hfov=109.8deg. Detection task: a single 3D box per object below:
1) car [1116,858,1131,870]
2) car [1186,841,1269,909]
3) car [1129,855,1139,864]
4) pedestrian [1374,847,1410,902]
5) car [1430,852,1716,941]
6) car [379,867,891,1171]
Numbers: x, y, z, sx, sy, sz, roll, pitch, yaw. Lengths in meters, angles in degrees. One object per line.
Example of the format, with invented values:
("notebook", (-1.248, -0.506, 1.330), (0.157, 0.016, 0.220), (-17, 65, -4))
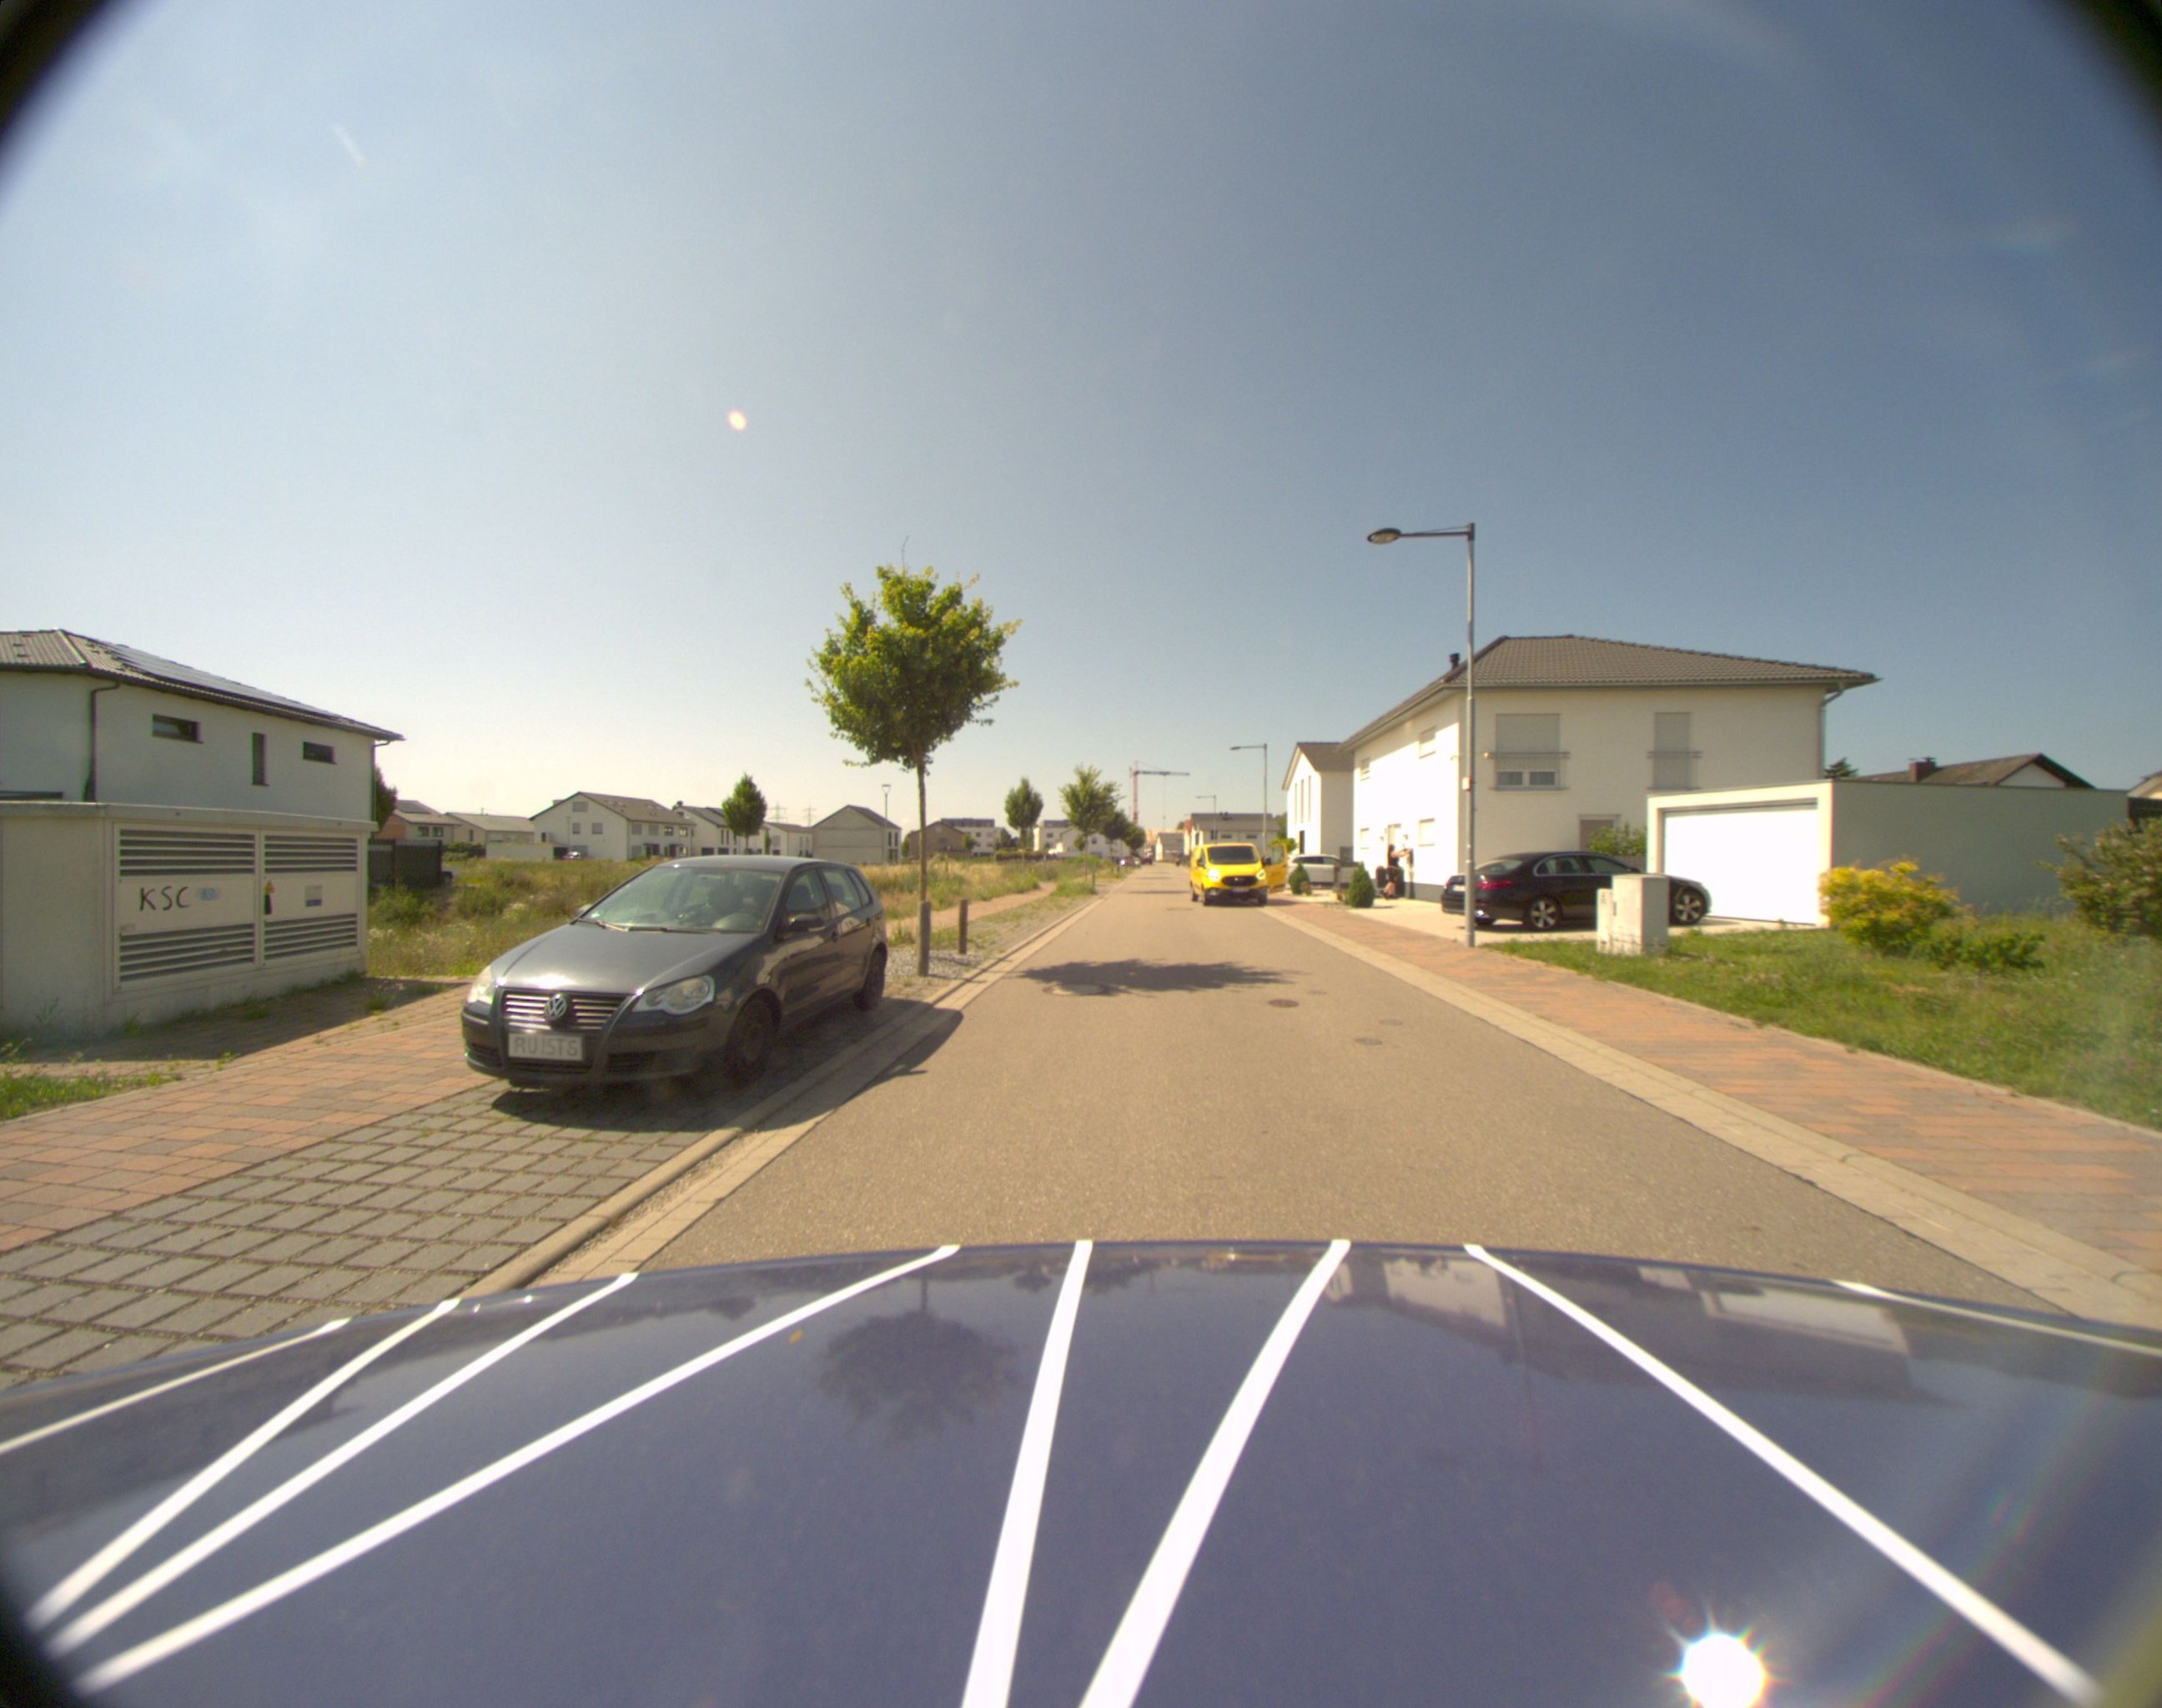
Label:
("car", (5.477, 1.265, 97.325), (1.768, 1.483, 4.001), (0, 0, 5))
("car", (4.719, 0.639, 25.107), (1.888, 2.002, 4.841), (-1, 0, 1))
("car", (8.172, 0.784, 116.561), (1.492, 1.389, 3.274), (0, 0, 5))
("pedestrian", (9.709, 0.626, 23.738), (0.931, 1.675, 0.538), (-2, 0, 15))
("car", (9.110, 0.724, 14.219), (4.407, 1.444, 1.748), (-1, 0, -8))
("car", (-2.813, 0.893, 5.820), (1.602, 1.466, 3.675), (2, 0, 3))
